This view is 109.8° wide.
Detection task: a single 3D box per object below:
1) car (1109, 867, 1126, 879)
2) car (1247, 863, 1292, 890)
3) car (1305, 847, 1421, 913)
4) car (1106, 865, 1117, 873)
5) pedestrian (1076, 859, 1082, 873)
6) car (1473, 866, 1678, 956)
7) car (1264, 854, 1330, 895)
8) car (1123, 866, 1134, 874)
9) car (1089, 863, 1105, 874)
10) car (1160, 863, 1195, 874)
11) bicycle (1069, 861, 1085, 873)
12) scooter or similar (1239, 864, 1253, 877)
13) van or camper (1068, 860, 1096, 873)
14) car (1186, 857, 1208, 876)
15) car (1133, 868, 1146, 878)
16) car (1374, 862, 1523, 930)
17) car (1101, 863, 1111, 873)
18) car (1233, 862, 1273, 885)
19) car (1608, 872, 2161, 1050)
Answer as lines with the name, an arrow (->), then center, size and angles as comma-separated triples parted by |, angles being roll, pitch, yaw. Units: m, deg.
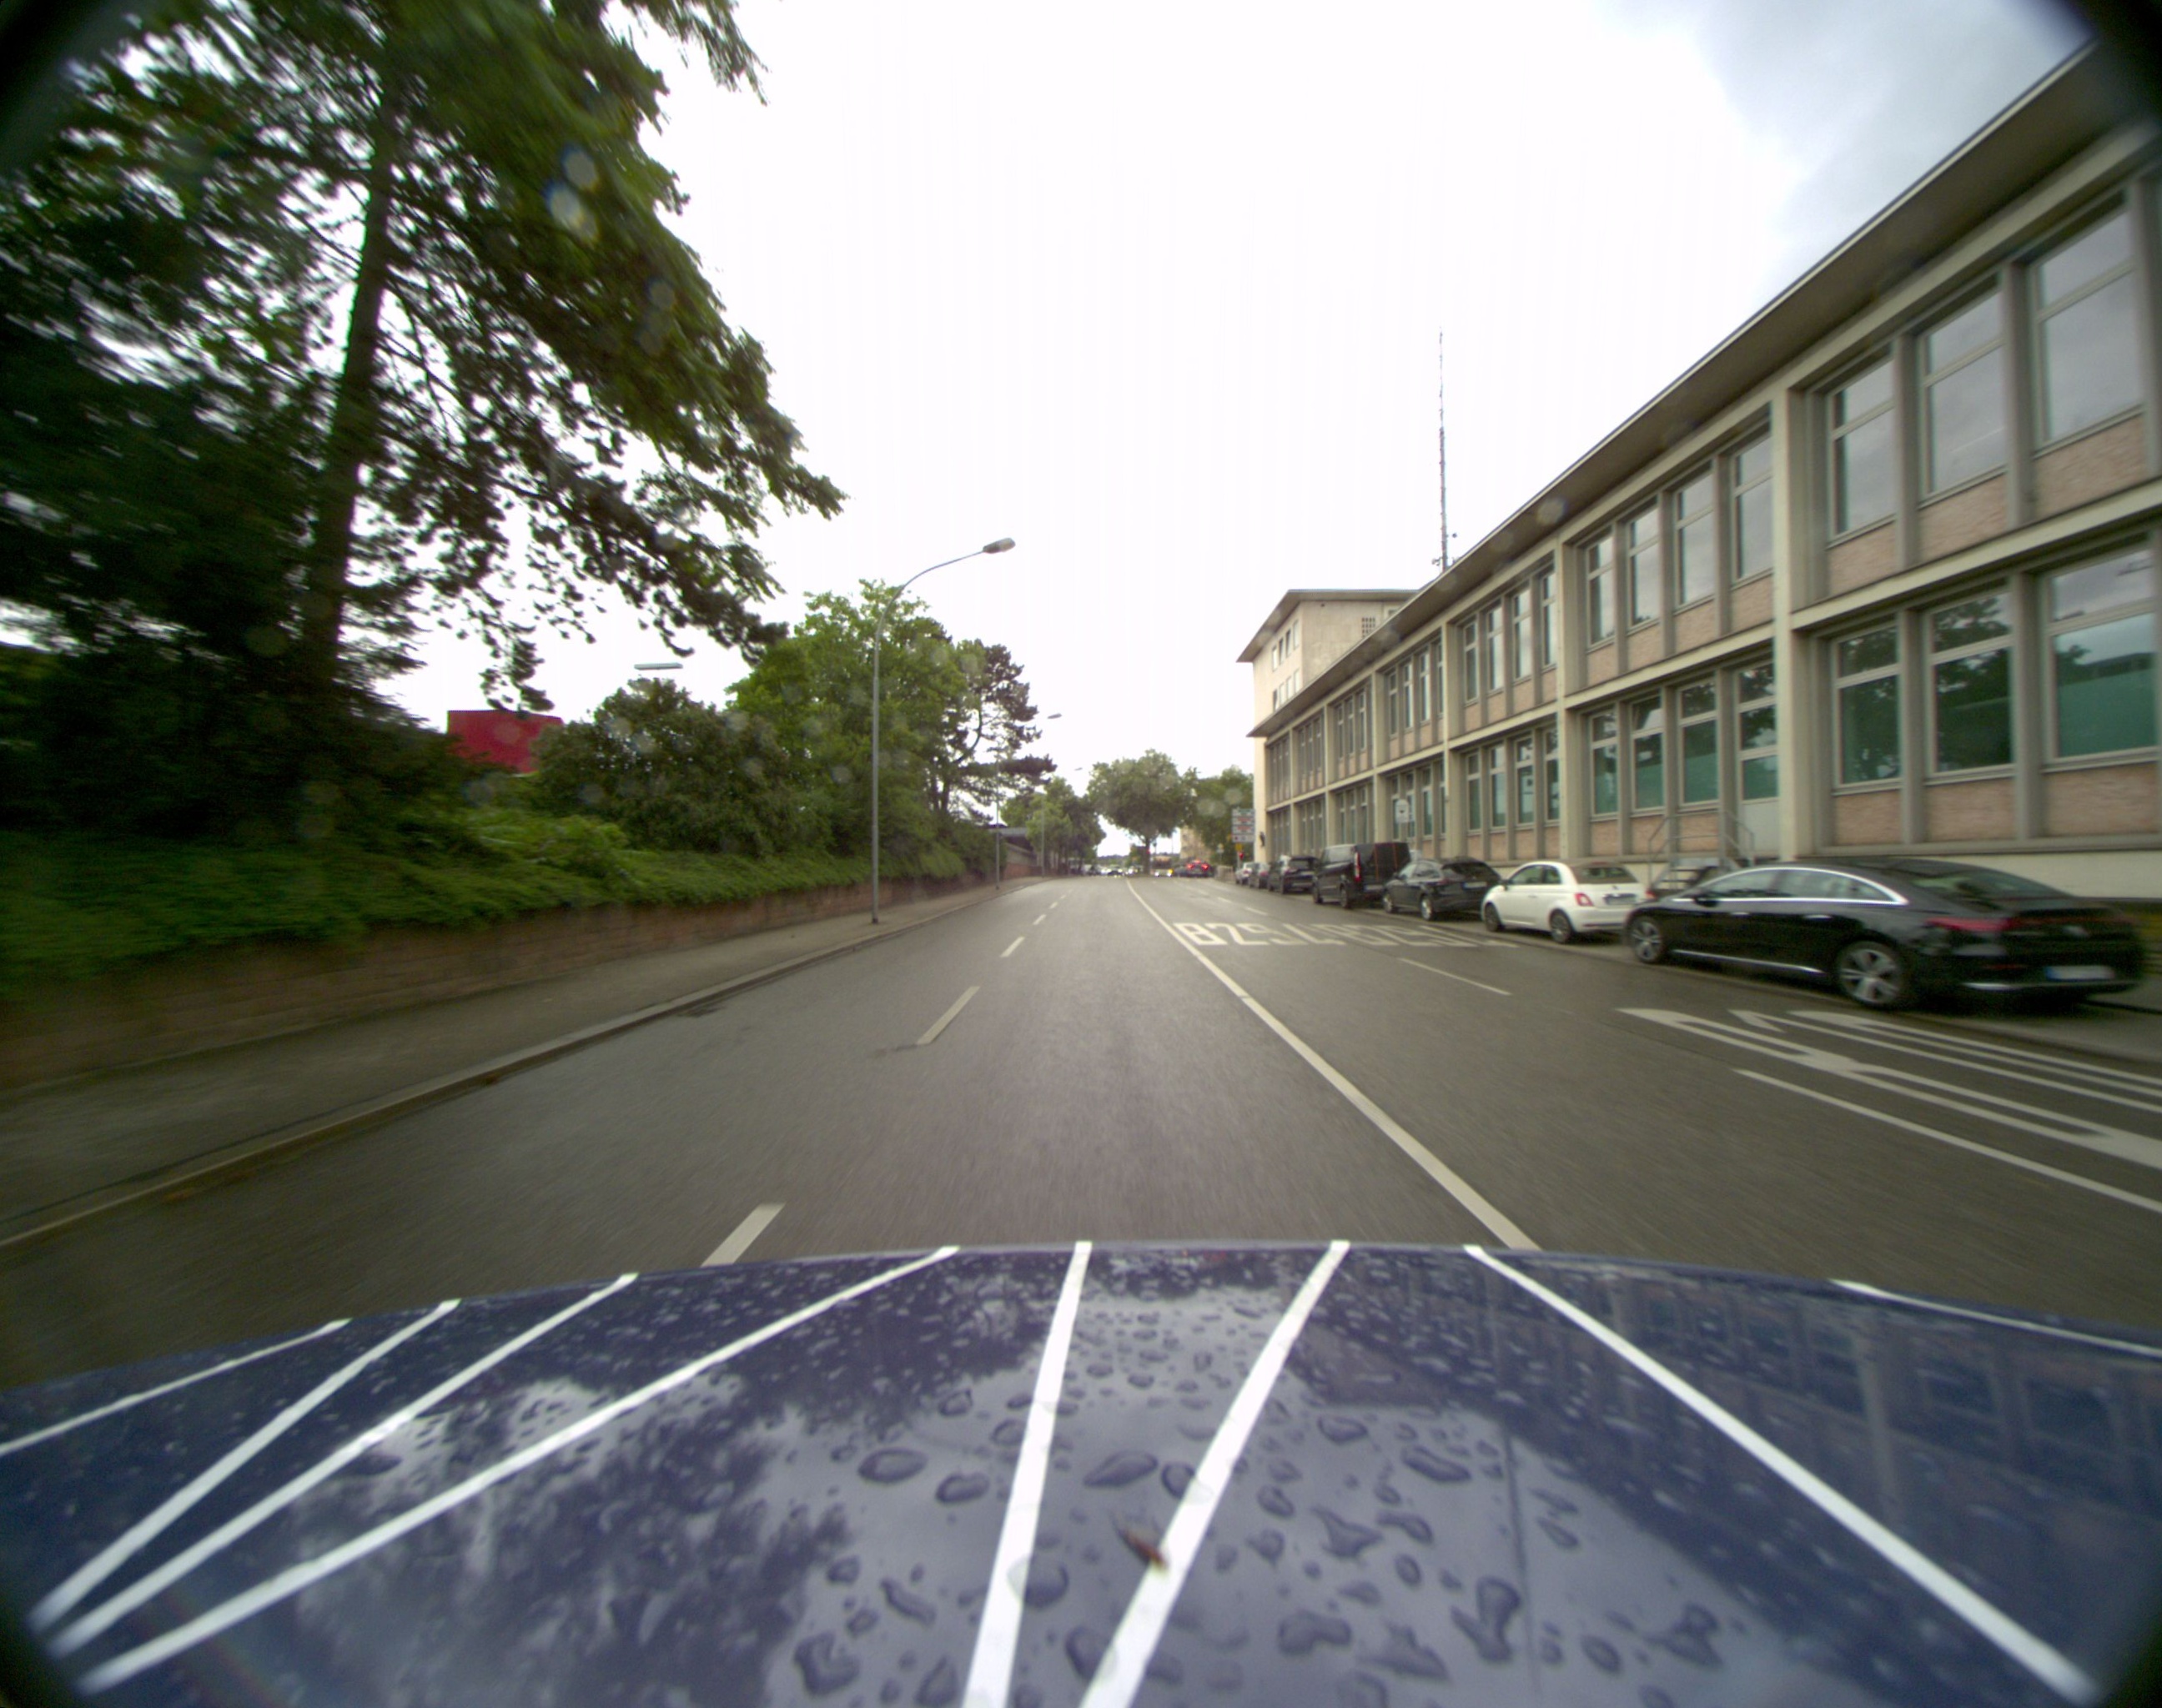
car -> 4.590, 2.337, 94.296 | 1.871, 1.465, 3.829 | 1, -2, 6
car -> 9.589, 1.113, 38.875 | 1.546, 1.345, 4.112 | 0, 0, 4
car -> 8.979, 0.763, 24.720 | 1.954, 1.932, 4.996 | 0, 0, 0
car -> 6.071, 2.918, 151.245 | 1.983, 1.438, 3.909 | -1, 0, 4
pedestrian -> -0.207, 1.391, 87.368 | 0.456, 1.559, 0.394 | 2, -1, 37
car -> 9.132, 0.978, 14.399 | 1.570, 1.475, 3.553 | 0, 0, 0
car -> 9.398, 0.863, 33.433 | 1.801, 1.666, 4.604 | 0, 0, 3
car -> 9.152, 3.170, 146.006 | 1.983, 1.437, 3.911 | 2, -1, 5
car -> 2.291, 1.981, 105.087 | 1.871, 1.465, 3.829 | 1, -2, 6
car -> 12.905, 1.924, 101.514 | 4.401, 1.400, 1.826 | 1, -1, 43
bicycle -> -0.465, 1.479, 87.071 | 1.720, 1.241, 0.487 | 2, -1, 35
scooter or similar -> 15.370, 1.520, 70.694 | 0.607, 1.185, 1.532 | 1, -1, 37
van or camper -> 0.254, 3.106, 184.652 | 6.541, 2.852, 2.275 | 2, -1, -27
car -> 10.885, 1.195, 71.468 | 1.825, 1.650, 4.340 | 1, -1, 6
car -> 9.254, 3.034, 121.046 | 1.983, 1.437, 3.911 | 2, -1, 5
car -> 9.246, 0.981, 19.562 | 1.865, 1.542, 4.313 | 0, 0, 2
car -> 4.046, 2.217, 122.285 | 1.619, 1.477, 3.670 | 0, 0, 2
car -> 10.014, 1.123, 44.371 | 1.695, 1.290, 4.094 | 0, 0, 4
car -> 8.877, 0.998, 9.098 | 1.820, 1.475, 4.910 | 0, 0, 1
